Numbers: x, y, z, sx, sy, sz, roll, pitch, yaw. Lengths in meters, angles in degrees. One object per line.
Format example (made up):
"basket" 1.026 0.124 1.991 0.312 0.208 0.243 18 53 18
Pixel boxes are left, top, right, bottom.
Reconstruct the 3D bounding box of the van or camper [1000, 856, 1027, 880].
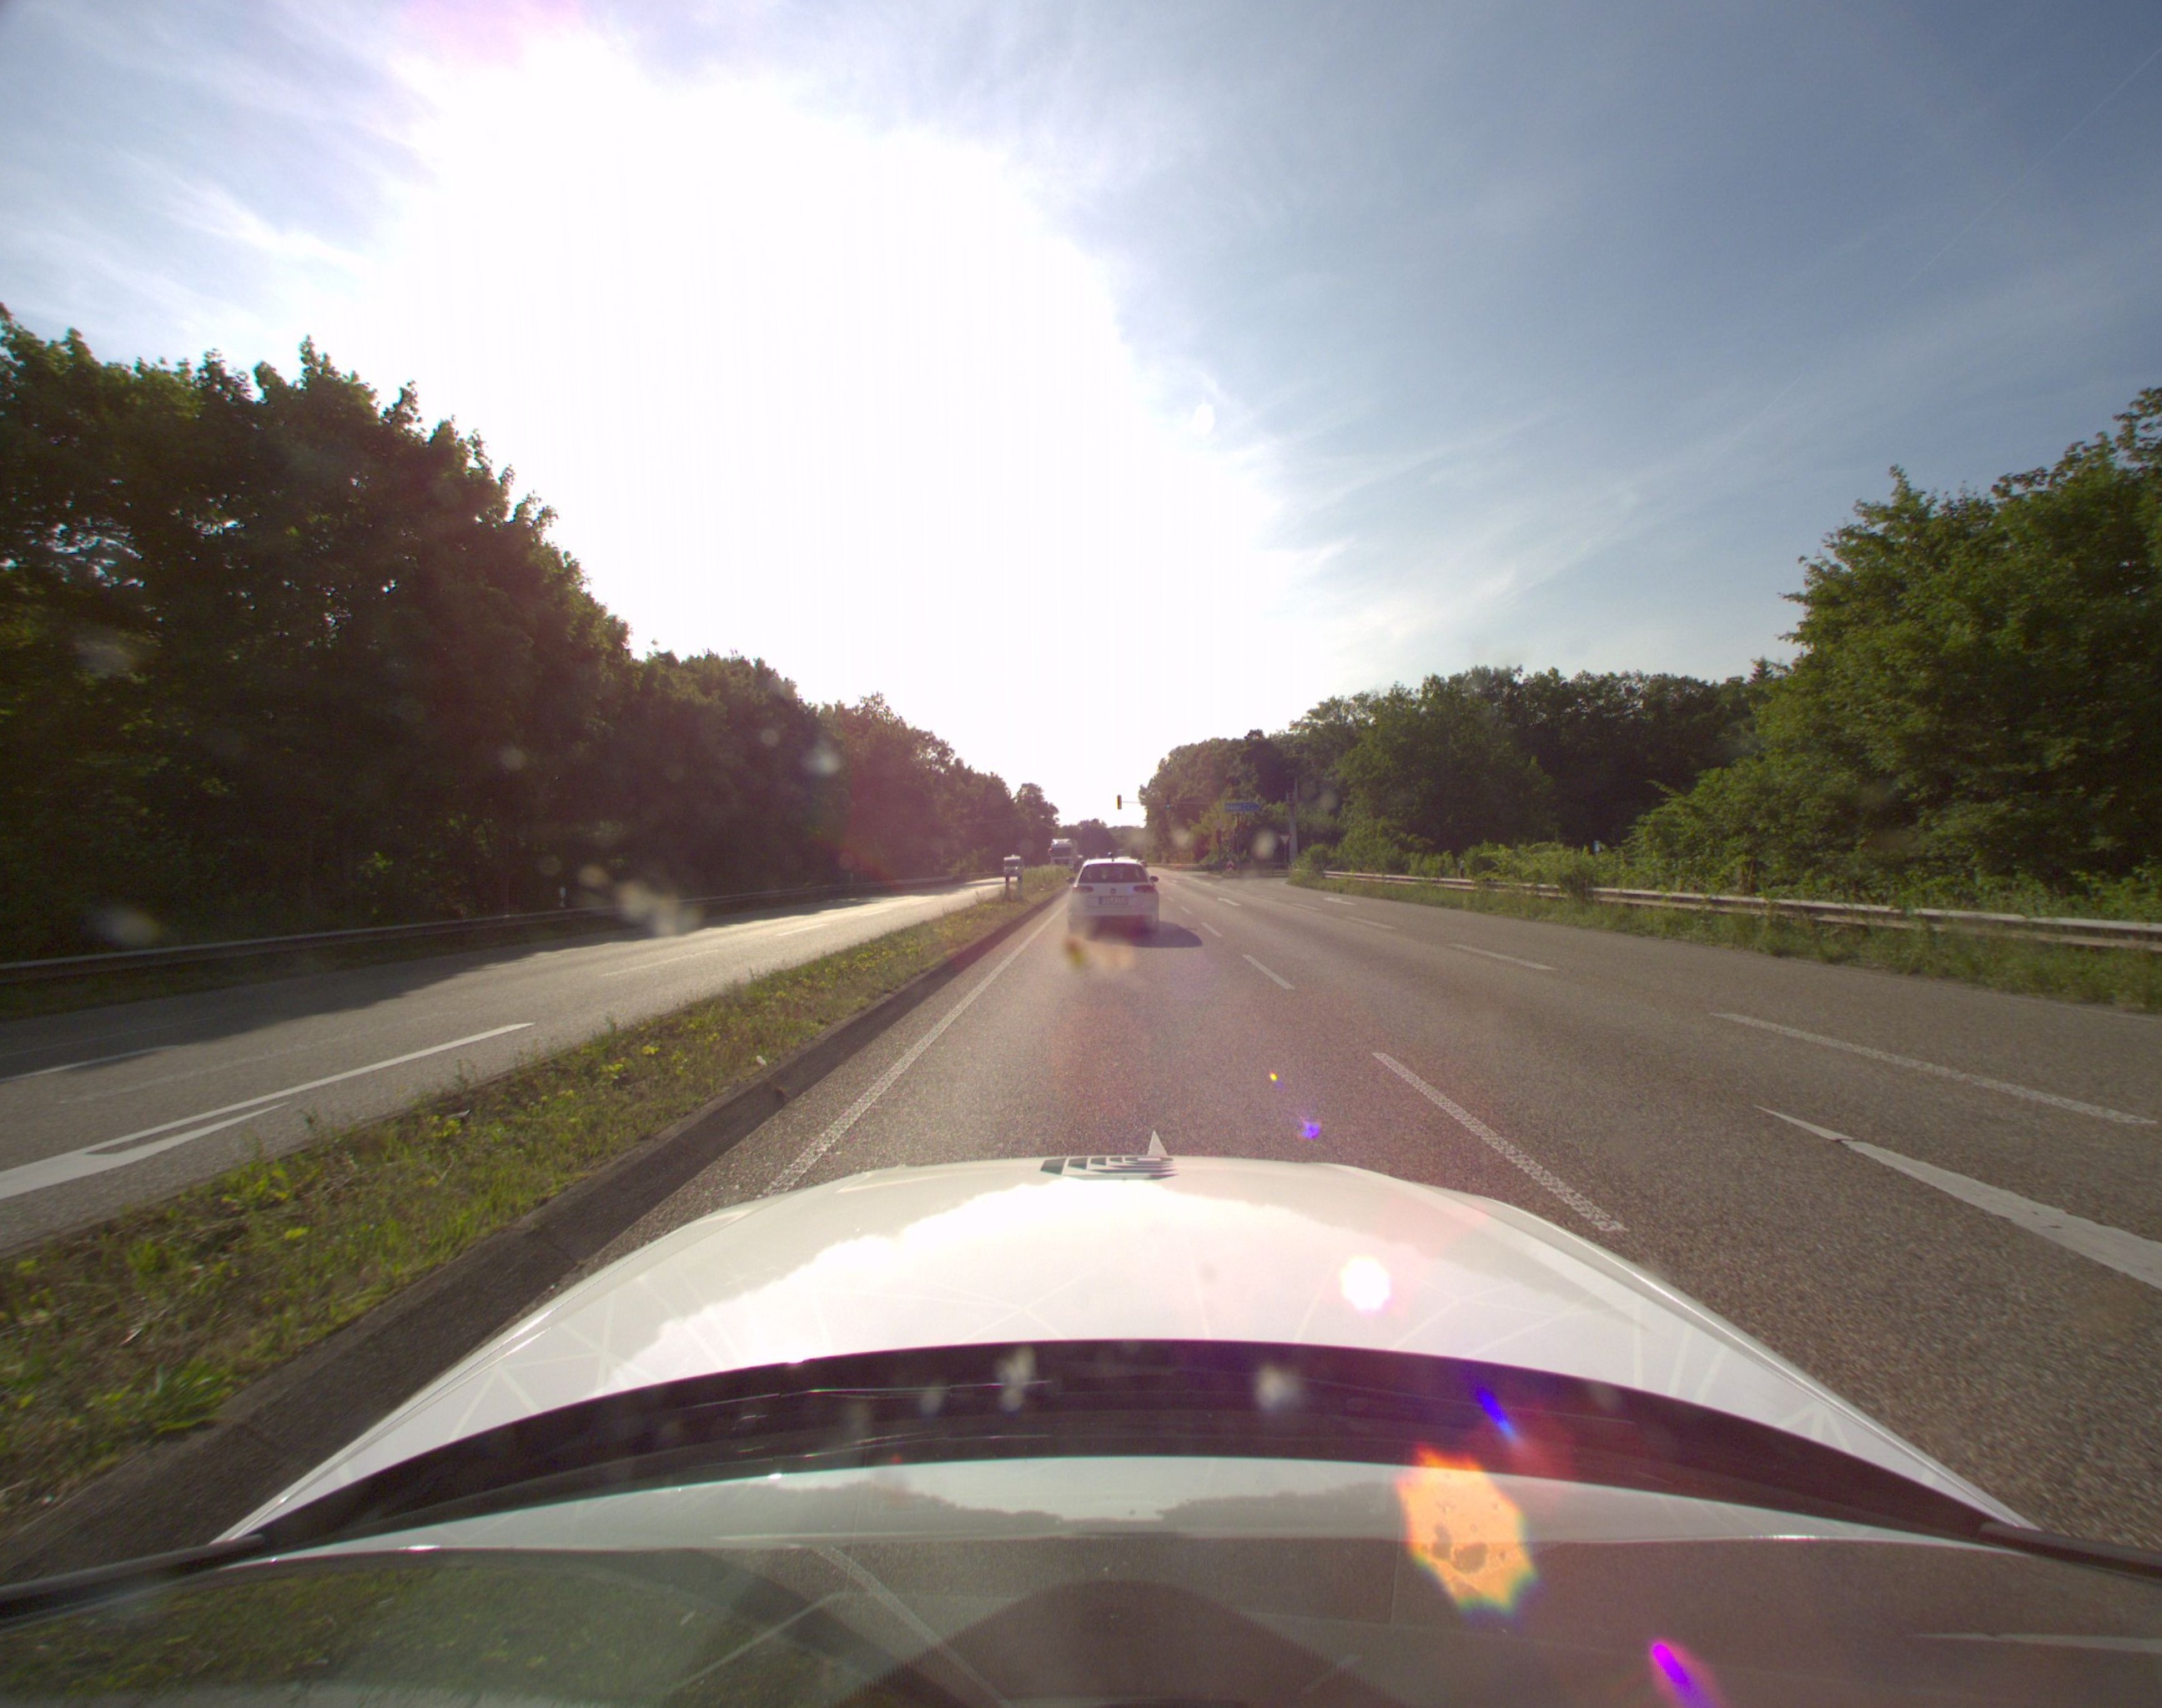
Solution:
"van or camper" -8.609 1.776 104.388 2.403 2.711 6.441 -4 -1 3

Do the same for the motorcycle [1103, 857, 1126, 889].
"motorcycle" 1.695 0.927 40.593 0.904 1.453 2.692 -5 0 5

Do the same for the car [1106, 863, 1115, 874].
"car" 8.265 3.905 225.446 2.201 2.888 7.015 -3 -1 3

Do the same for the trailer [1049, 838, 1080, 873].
"trailer" -1.847 0.221 98.489 2.980 3.996 14.018 0 0 2

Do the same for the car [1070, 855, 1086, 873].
"car" -0.437 1.460 123.411 2.066 2.534 6.168 -3 -1 3

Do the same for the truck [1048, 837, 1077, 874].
"truck" -2.027 0.158 90.860 2.880 3.997 6.723 0 -1 1

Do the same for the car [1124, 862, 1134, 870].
"car" 8.077 2.019 137.191 1.754 1.380 3.975 -1 0 4

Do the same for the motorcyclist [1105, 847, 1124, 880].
"motorcyclist" 1.680 0.479 40.621 0.879 1.616 1.292 0 -1 5

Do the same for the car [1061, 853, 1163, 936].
"car" 0.707 0.769 17.493 1.862 1.521 4.838 -1 0 3

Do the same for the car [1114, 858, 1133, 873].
"car" 3.994 1.071 76.176 1.754 1.380 3.975 -1 0 4

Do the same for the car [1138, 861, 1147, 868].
"car" 13.791 2.257 182.150 1.754 1.380 3.975 -3 0 3
